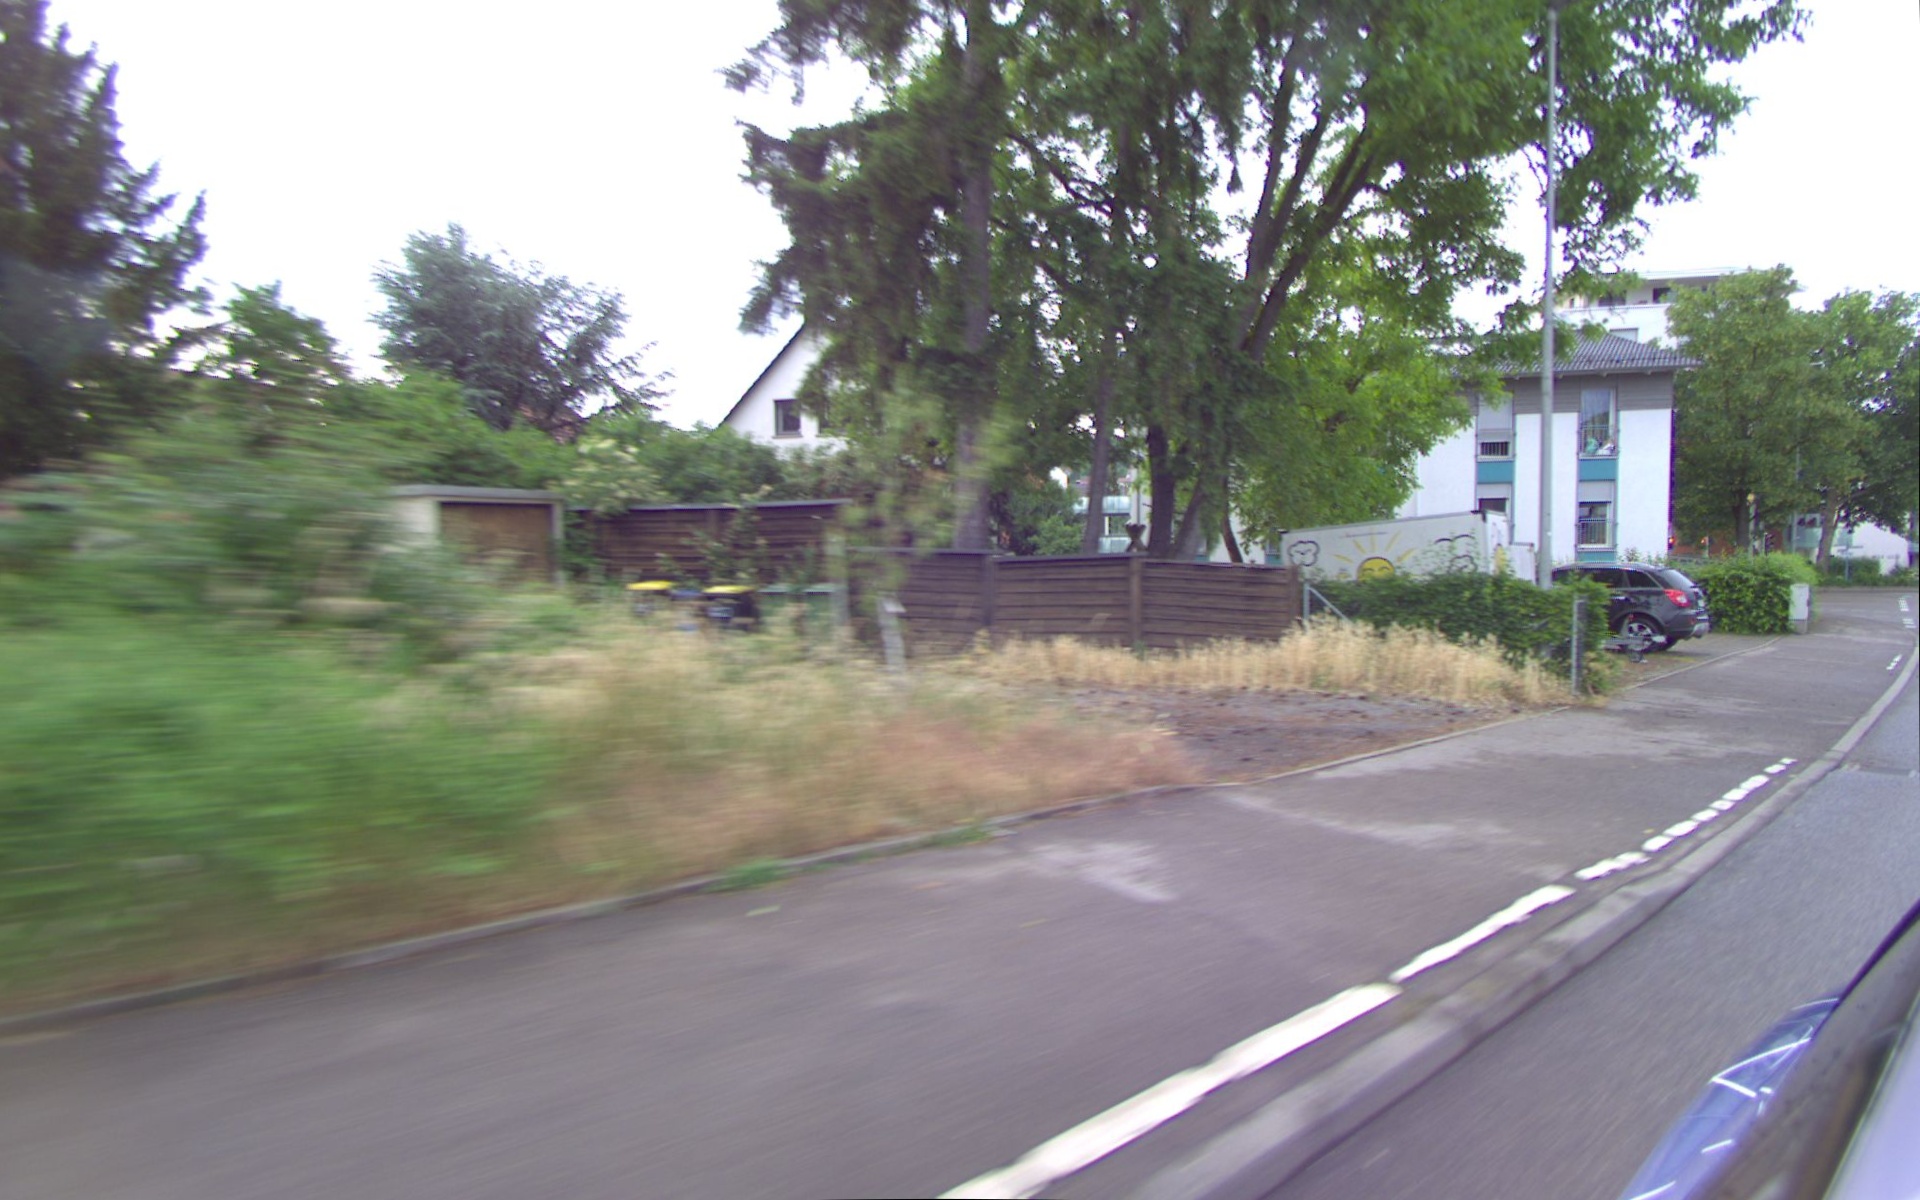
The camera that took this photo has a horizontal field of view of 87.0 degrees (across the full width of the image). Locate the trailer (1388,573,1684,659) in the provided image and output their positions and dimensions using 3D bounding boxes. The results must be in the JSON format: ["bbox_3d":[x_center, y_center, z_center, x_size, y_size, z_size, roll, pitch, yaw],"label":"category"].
[{"bbox_3d":[10.264,0.208,18.300,1.546,1.304,4.401,0,2,-44],"label":"trailer"}]

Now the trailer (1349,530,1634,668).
[{"bbox_3d":[8.811,-0.056,17.010,1.659,2.047,3.955,-1,2,-44],"label":"trailer"}]

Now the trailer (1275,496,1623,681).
[{"bbox_3d":[7.393,-0.213,15.547,4.527,2.430,1.922,1,2,39],"label":"trailer"}]

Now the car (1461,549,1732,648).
[{"bbox_3d":[12.621,-0.100,20.259,1.950,1.771,4.219,0,2,-42],"label":"car"}]
